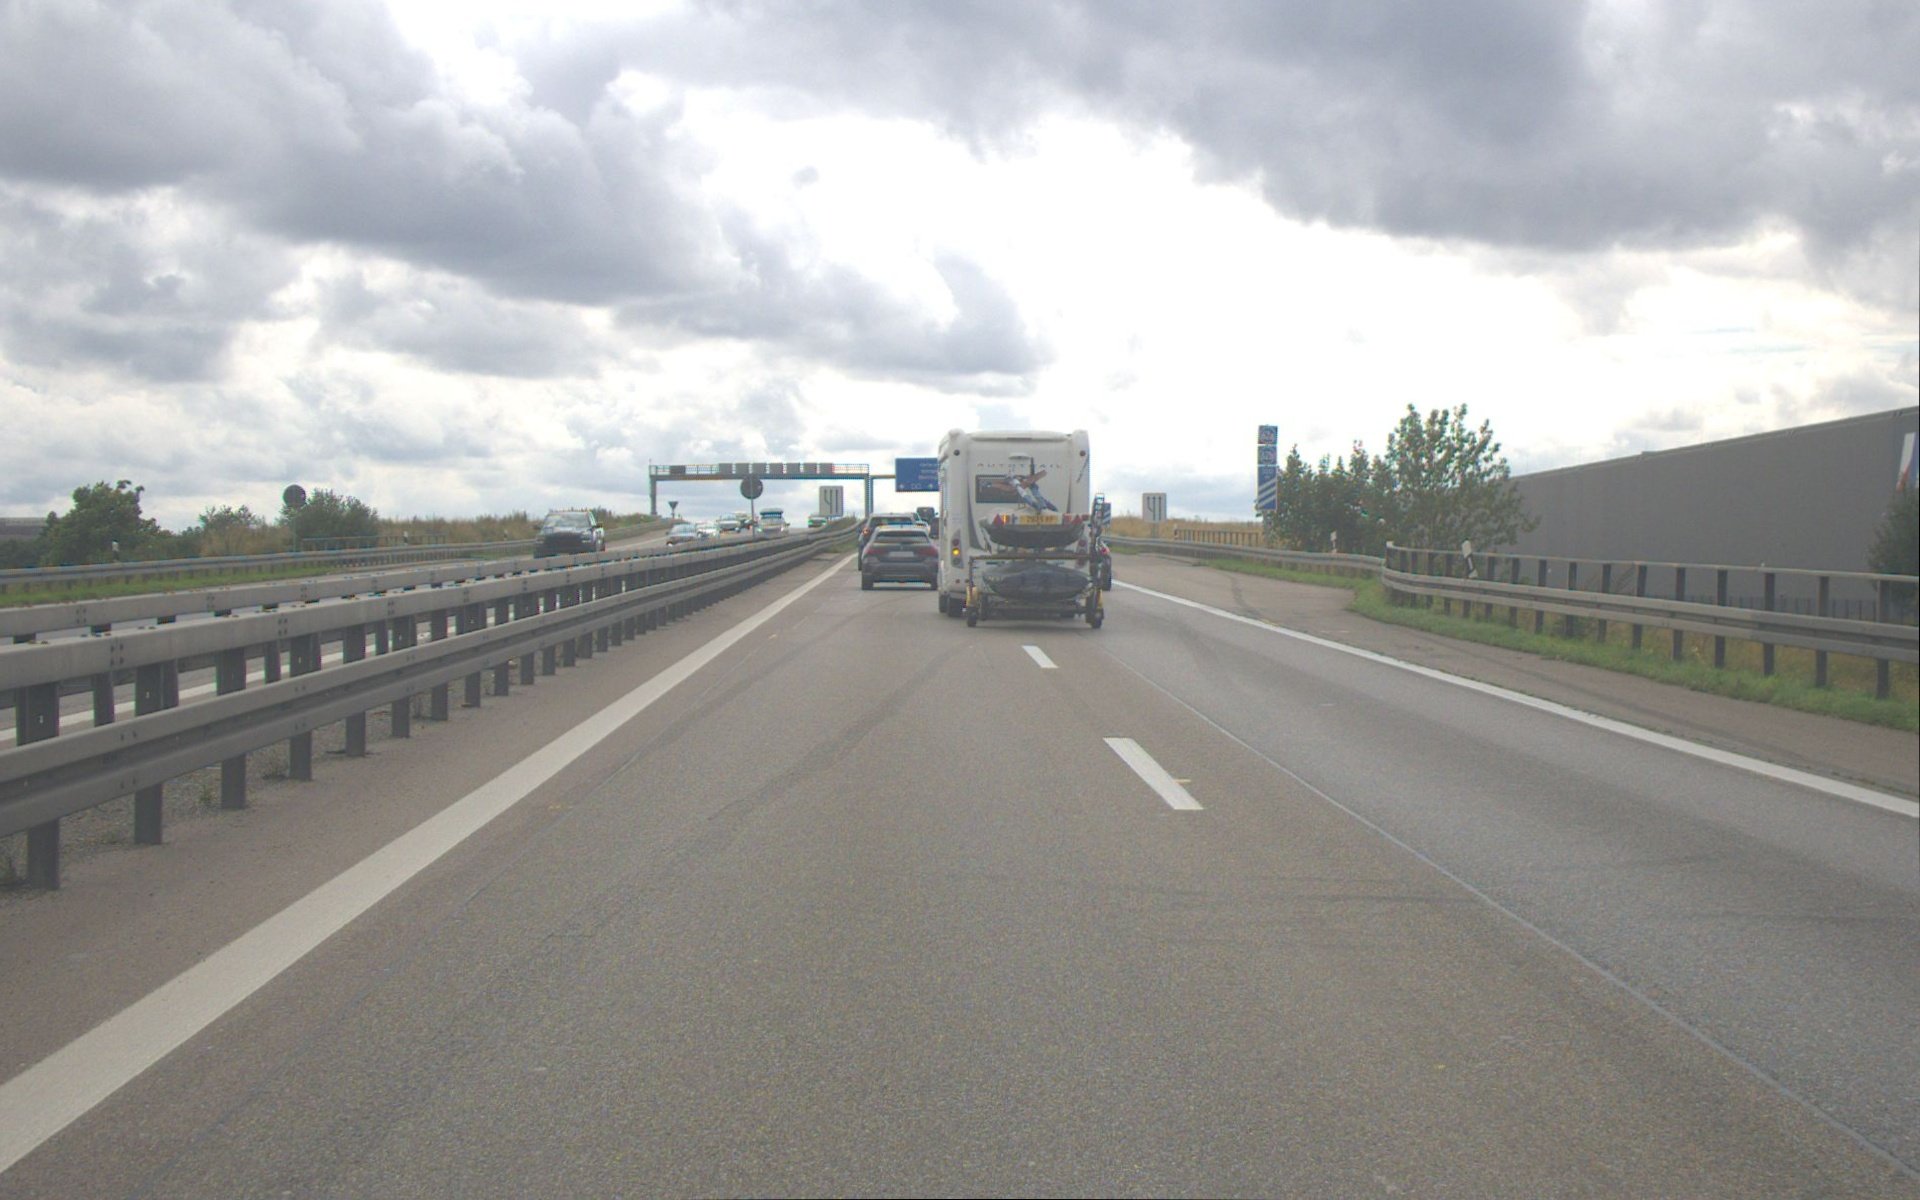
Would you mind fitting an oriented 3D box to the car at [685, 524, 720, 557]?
[{"bbox_3d":[-15.970,-3.687,213.265,1.993,2.007,4.384,0,0,-3],"label":"car"}]

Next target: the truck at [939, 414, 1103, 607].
[{"bbox_3d":[0.929,-1.386,55.508,2.482,2.940,5.815,0,0,0],"label":"truck"}]

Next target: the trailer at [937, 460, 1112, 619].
[{"bbox_3d":[0.929,-0.827,48.347,2.338,2.129,4.000,0,0,2],"label":"trailer"}]

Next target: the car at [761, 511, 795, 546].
[{"bbox_3d":[-10.869,-4.287,205.335,1.993,2.007,4.385,0,2,-3],"label":"car"}]

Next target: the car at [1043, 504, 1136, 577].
[{"bbox_3d":[2.929,-1.336,78.616,1.882,1.615,4.000,0,0,-1],"label":"car"}]

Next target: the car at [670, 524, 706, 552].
[{"bbox_3d":[-14.955,-3.435,189.086,1.756,1.463,4.561,0,2,-2],"label":"car"}]

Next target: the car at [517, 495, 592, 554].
[{"bbox_3d":[-14.079,-2.642,119.628,1.993,2.007,6.103,0,2,-1],"label":"car"}]

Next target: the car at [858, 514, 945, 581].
[{"bbox_3d":[-1.284,-1.170,77.328,1.746,1.448,4.000,0,0,2],"label":"car"}]
